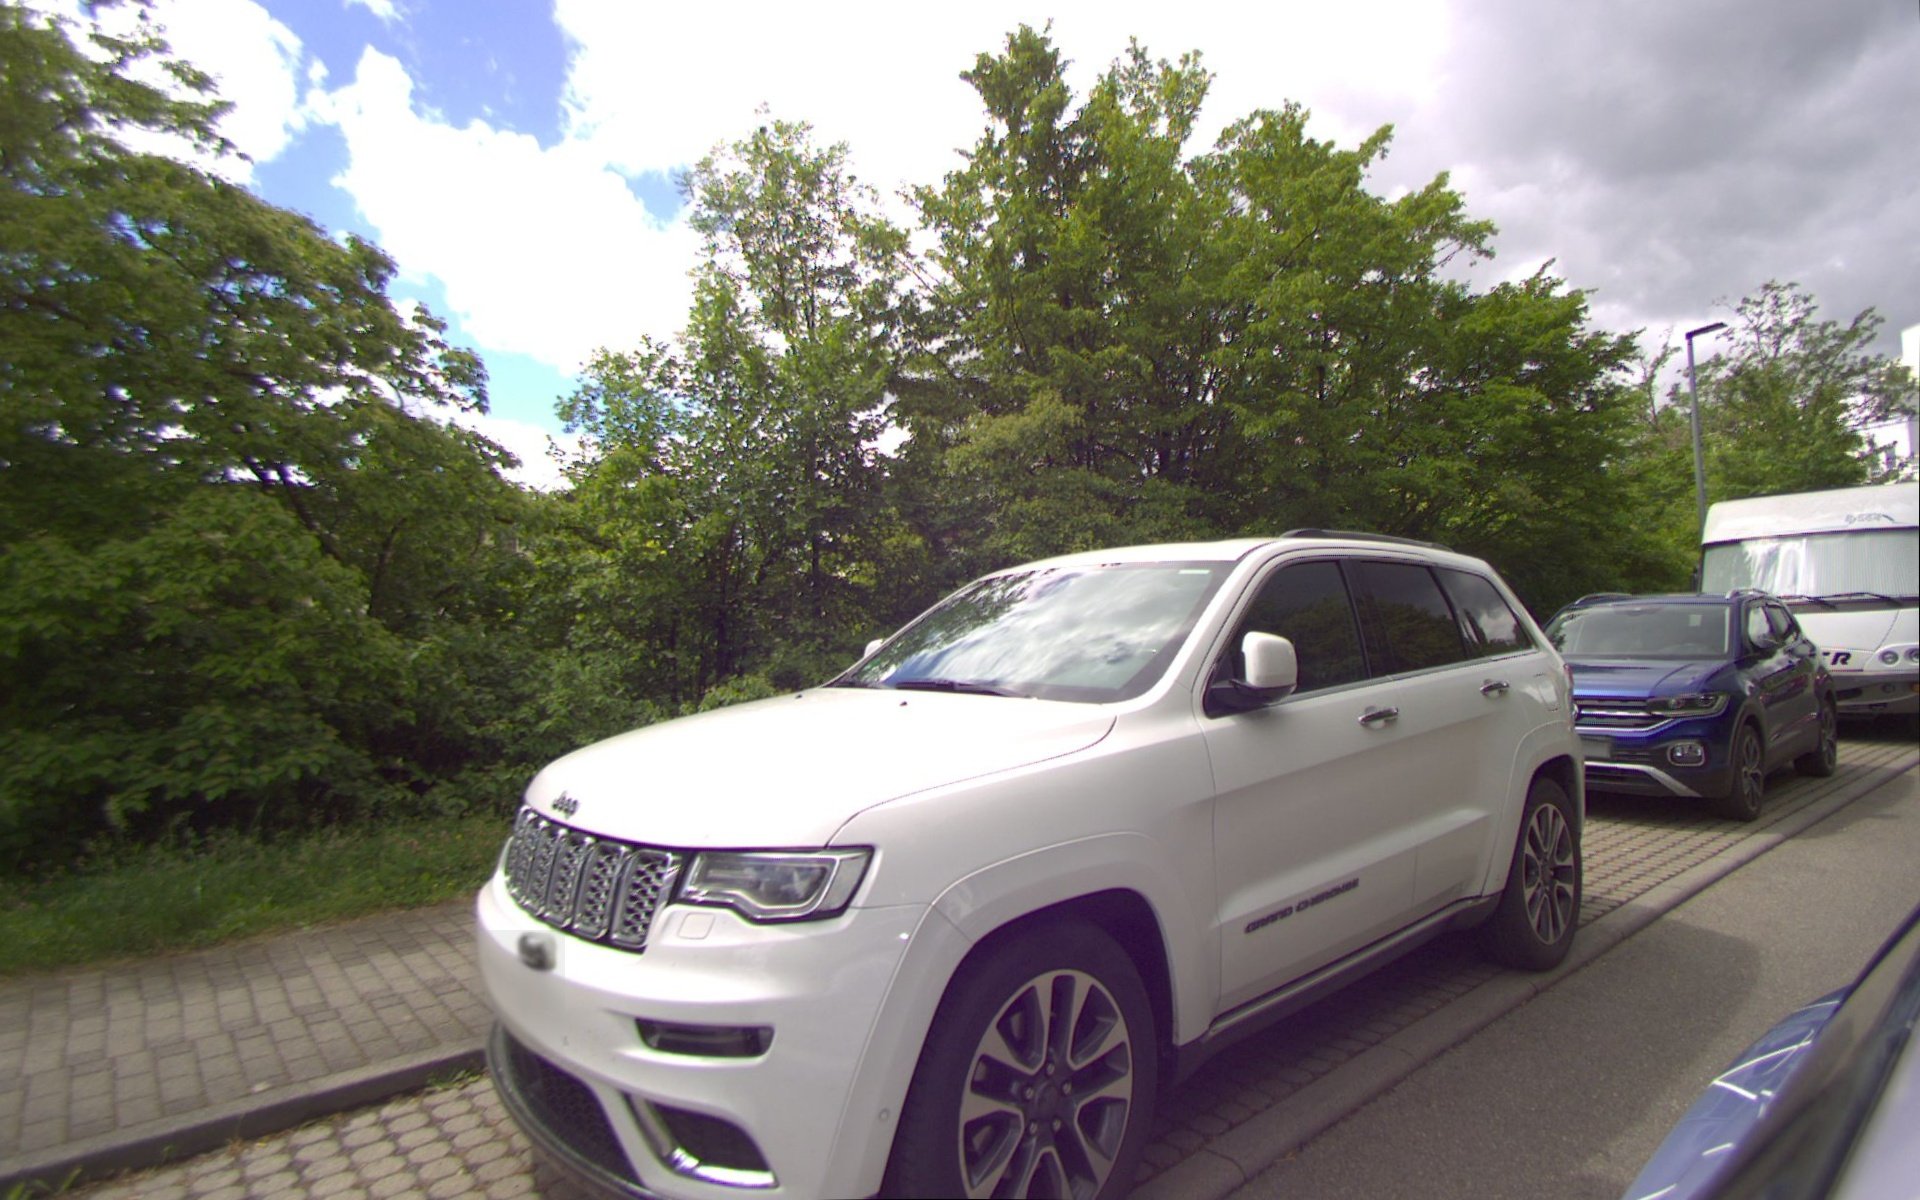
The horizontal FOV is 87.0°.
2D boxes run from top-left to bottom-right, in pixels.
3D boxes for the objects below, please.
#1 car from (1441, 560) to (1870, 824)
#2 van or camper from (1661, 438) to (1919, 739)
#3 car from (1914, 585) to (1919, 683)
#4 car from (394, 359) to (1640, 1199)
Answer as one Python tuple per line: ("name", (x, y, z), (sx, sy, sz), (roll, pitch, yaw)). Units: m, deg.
("car", (5.696, 0.635, 8.123), (3.929, 1.613, 1.713), (0, -6, -40))
("van or camper", (11.215, -0.106, 12.316), (6.034, 2.906, 2.339), (-1, -3, -35))
("car", (17.175, 0.455, 16.401), (3.816, 1.538, 1.734), (-3, 0, -35))
("car", (0.649, 0.539, 3.715), (4.499, 1.711, 1.874), (0, -4, -41))
